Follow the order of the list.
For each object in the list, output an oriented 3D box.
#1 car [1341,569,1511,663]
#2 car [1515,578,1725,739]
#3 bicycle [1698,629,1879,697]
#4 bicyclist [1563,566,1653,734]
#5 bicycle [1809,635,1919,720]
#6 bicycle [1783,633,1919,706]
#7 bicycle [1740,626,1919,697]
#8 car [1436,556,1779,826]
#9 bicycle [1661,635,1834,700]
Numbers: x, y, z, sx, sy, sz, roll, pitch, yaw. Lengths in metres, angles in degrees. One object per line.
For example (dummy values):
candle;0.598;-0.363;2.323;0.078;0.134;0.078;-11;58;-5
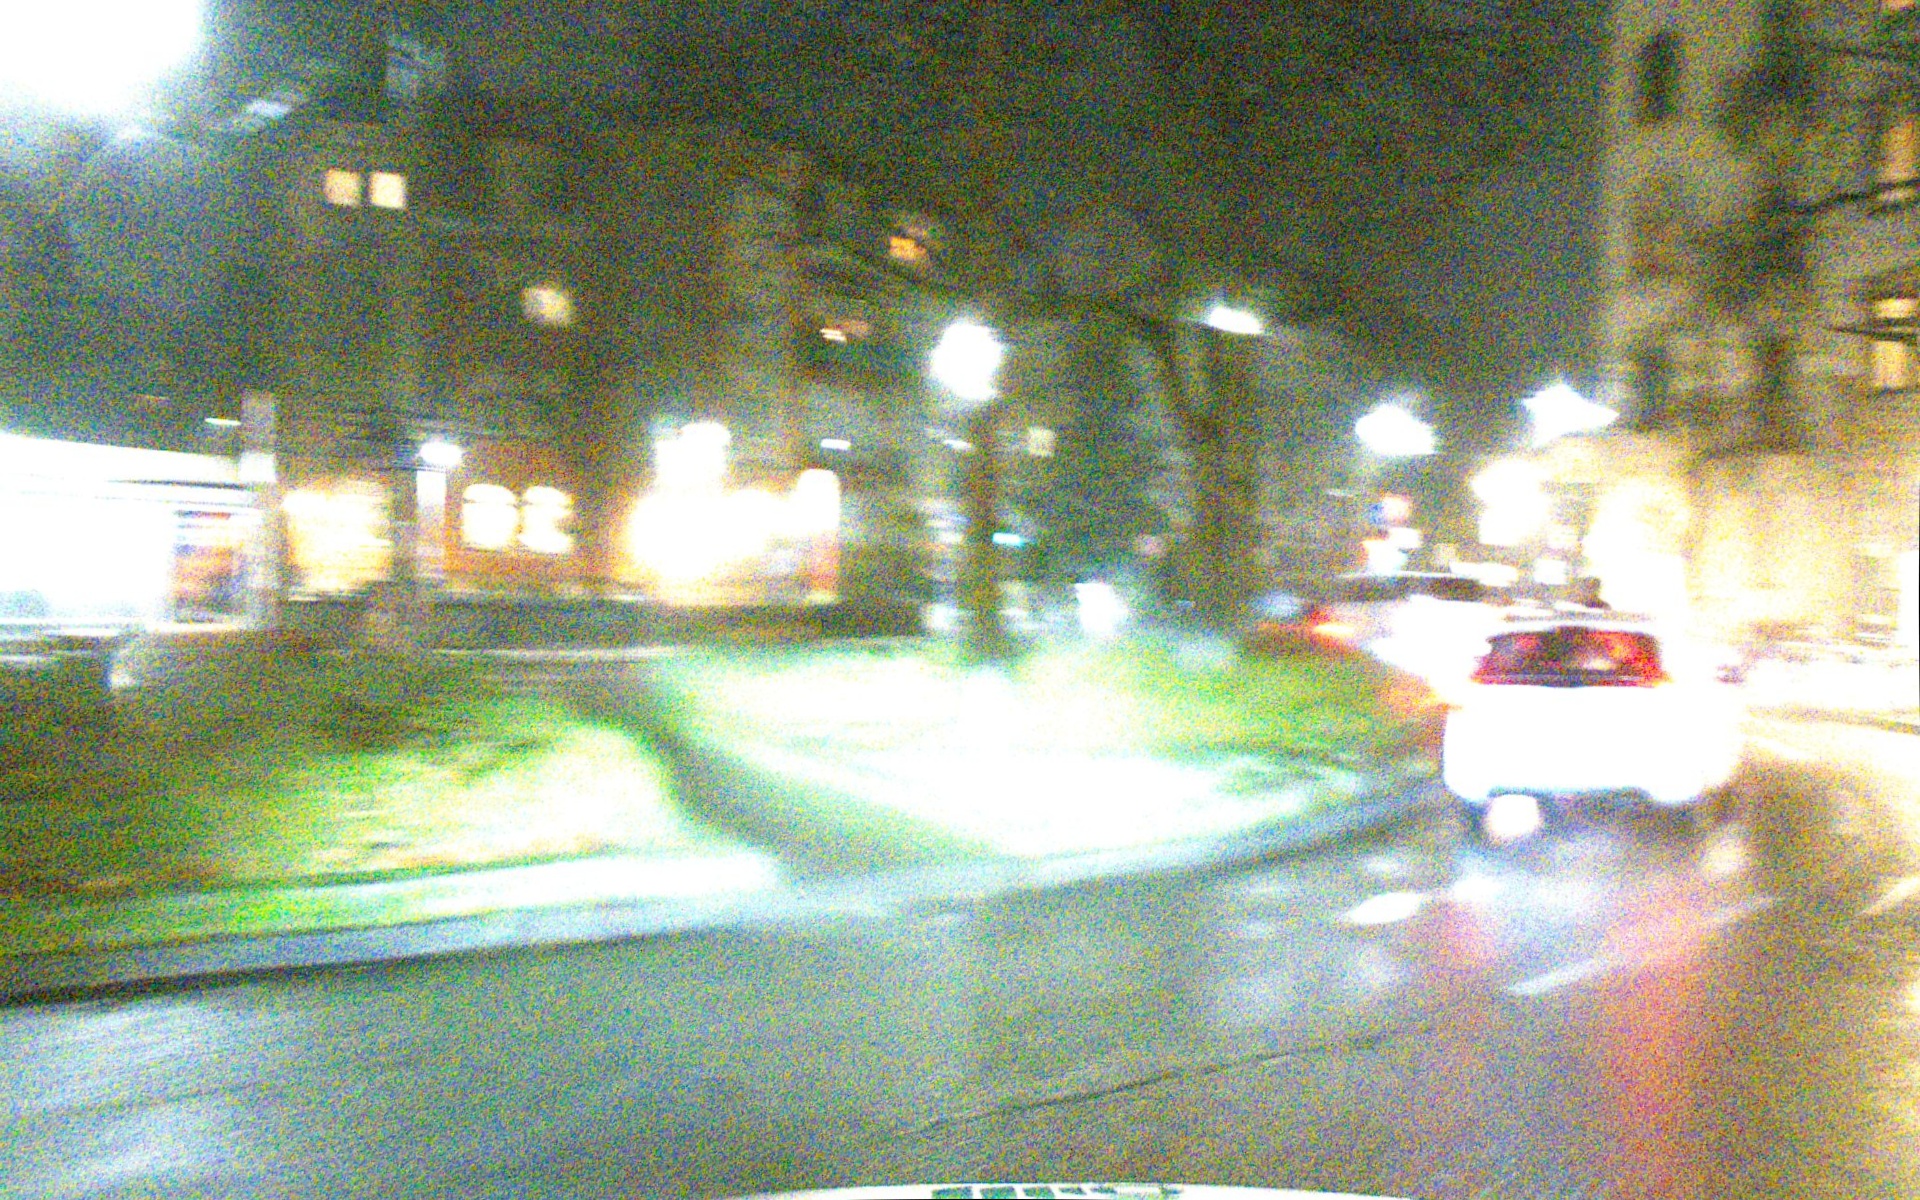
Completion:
car;9.785;0.345;35.041;1.956;1.758;3.992;3;-1;-8
car;8.313;0.728;21.165;1.951;1.758;4.002;3;-1;15
bicycle;14.104;1.060;28.200;2.711;1.044;0.725;2;0;-1
bicyclist;6.881;0.524;17.546;0.781;1.704;0.707;3;-1;25
bicycle;13.890;1.146;24.001;2.711;1.149;0.725;2;0;23
bicycle;14.190;1.079;25.484;2.713;1.044;0.724;2;0;-6
bicycle;14.143;0.984;26.748;2.711;1.044;0.725;2;0;-1
car;4.891;0.630;12.215;1.700;1.641;3.452;3;-1;32
bicycle;14.013;1.189;29.465;2.711;1.044;0.725;2;0;-1
